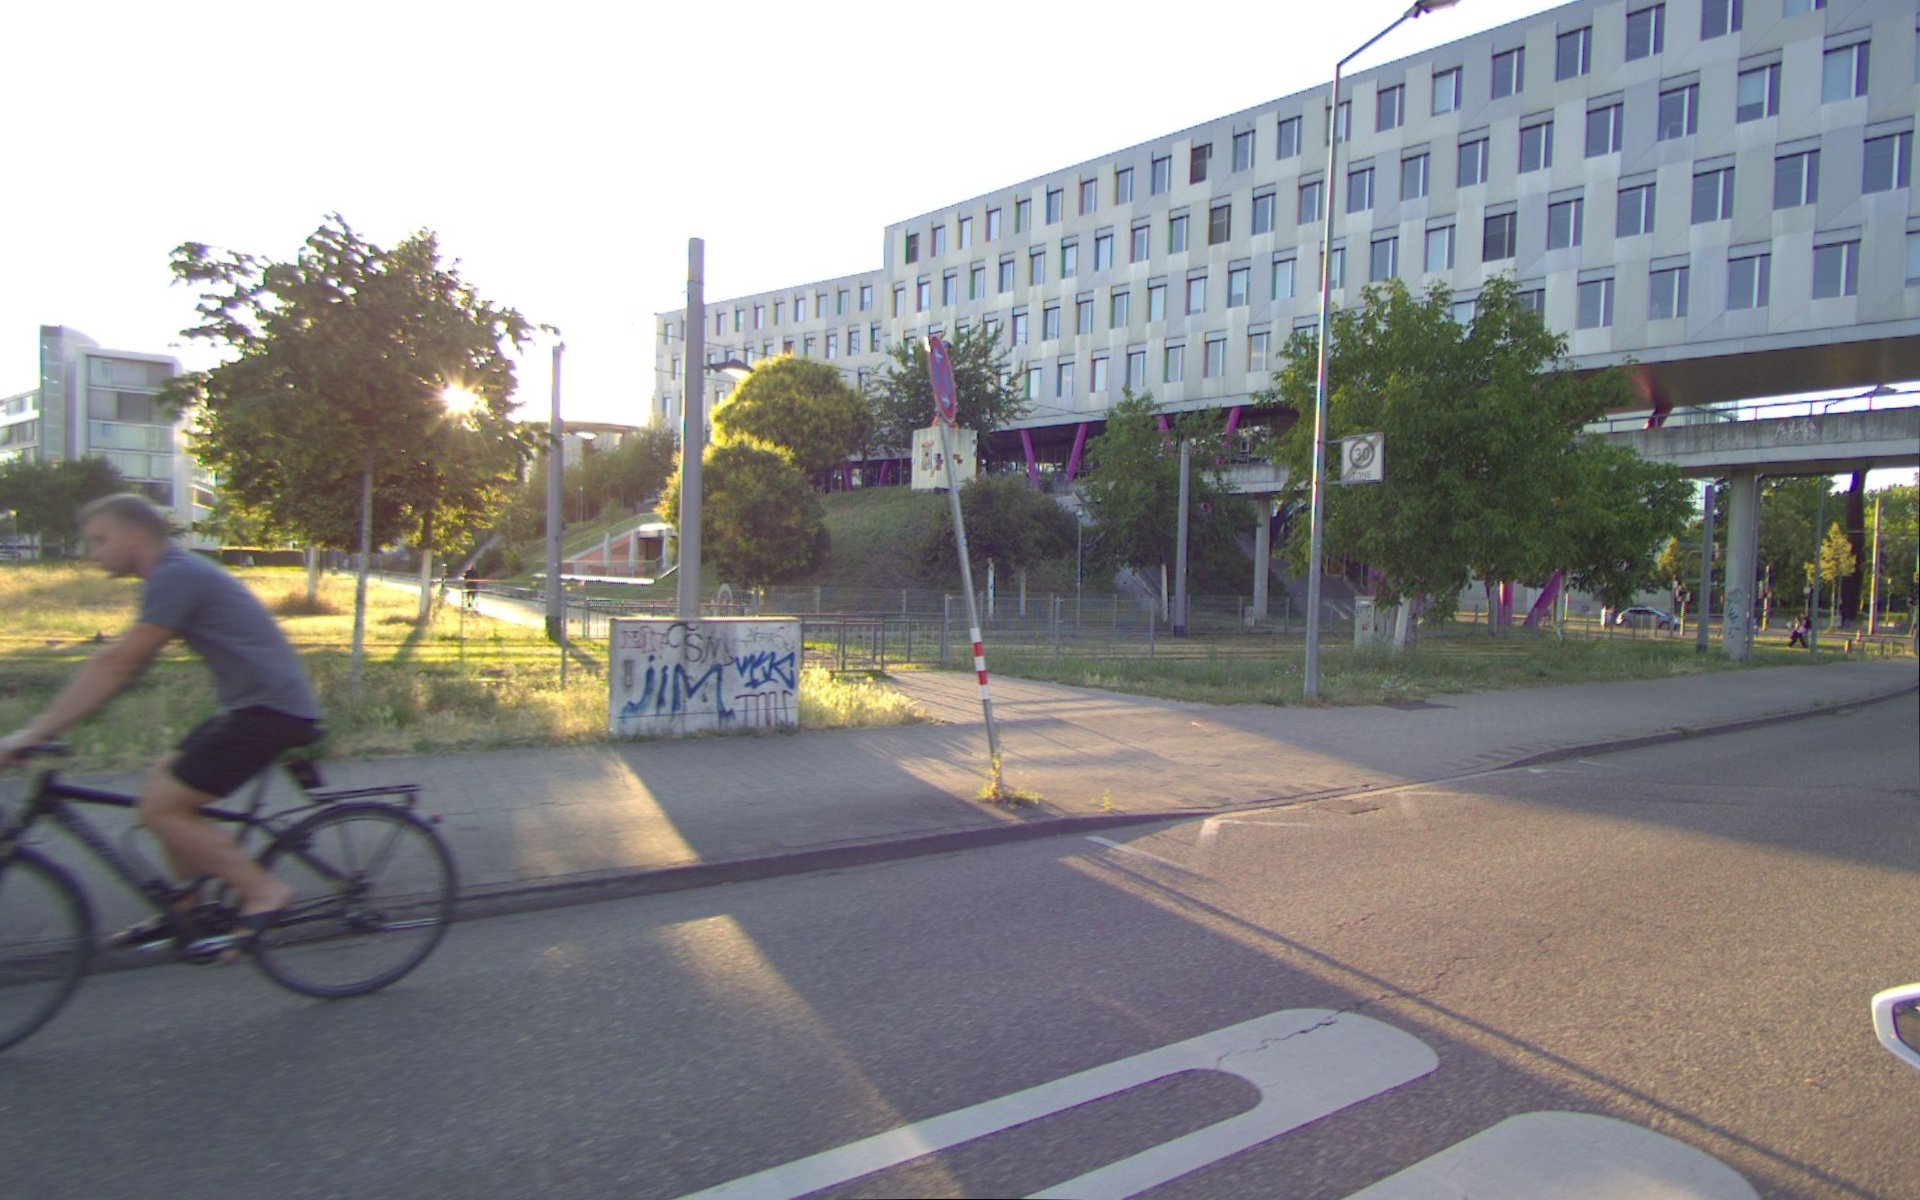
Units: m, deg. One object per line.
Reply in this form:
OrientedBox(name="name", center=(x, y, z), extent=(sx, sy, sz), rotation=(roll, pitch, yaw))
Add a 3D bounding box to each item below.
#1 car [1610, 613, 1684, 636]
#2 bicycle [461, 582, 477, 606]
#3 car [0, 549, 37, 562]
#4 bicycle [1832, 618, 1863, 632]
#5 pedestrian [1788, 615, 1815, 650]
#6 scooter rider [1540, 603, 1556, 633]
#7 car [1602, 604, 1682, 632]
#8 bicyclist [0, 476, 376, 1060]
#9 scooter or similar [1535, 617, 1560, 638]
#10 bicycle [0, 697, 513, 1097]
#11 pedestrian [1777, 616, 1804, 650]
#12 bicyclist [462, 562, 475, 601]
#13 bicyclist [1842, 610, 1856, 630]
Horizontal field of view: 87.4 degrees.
OrientedBox(name="car", center=(48.536, 1.712, 70.987), extent=(1.587, 1.438, 3.994), rotation=(0, 2, -36))
OrientedBox(name="bicycle", center=(-19.273, -0.238, 39.397), extent=(0.426, 0.912, 1.224), rotation=(0, 2, -33))
OrientedBox(name="car", center=(-130.426, -6.135, 138.911), extent=(3.764, 1.635, 1.637), rotation=(0, 2, -33))
OrientedBox(name="bicycle", center=(78.107, 2.158, 88.431), extent=(1.934, 1.143, 0.559), rotation=(2, 2, 31))
OrientedBox(name="pedestrian", center=(41.839, 1.607, 49.936), extent=(0.700, 1.686, 0.700), rotation=(1, 2, -17))
OrientedBox(name="scooter rider", center=(36.616, 1.118, 62.591), extent=(0.439, 1.807, 0.700), rotation=(0, 2, -37))
OrientedBox(name="car", center=(50.189, 1.319, 73.986), extent=(1.925, 1.841, 4.437), rotation=(0, 2, -35))
OrientedBox(name="bicyclist", center=(-2.551, 0.482, 3.354), extent=(1.024, 1.685, 0.612), rotation=(0, 2, -29))
OrientedBox(name="scooter or similar", center=(36.610, 1.727, 62.596), extent=(0.499, 1.217, 1.204), rotation=(0, 2, -38))
OrientedBox(name="bicycle", center=(-2.570, 0.928, 3.391), extent=(1.902, 1.057, 0.536), rotation=(0, 2, -30))
OrientedBox(name="pedestrian", center=(41.106, 1.612, 49.717), extent=(0.700, 1.646, 0.685), rotation=(1, 2, -17))
OrientedBox(name="bicyclist", center=(-19.262, -0.732, 39.387), extent=(0.419, 1.515, 0.509), rotation=(0, 2, -32))
OrientedBox(name="bicyclist", center=(78.188, 1.757, 88.370), extent=(0.746, 1.746, 0.551), rotation=(2, 2, 31))
